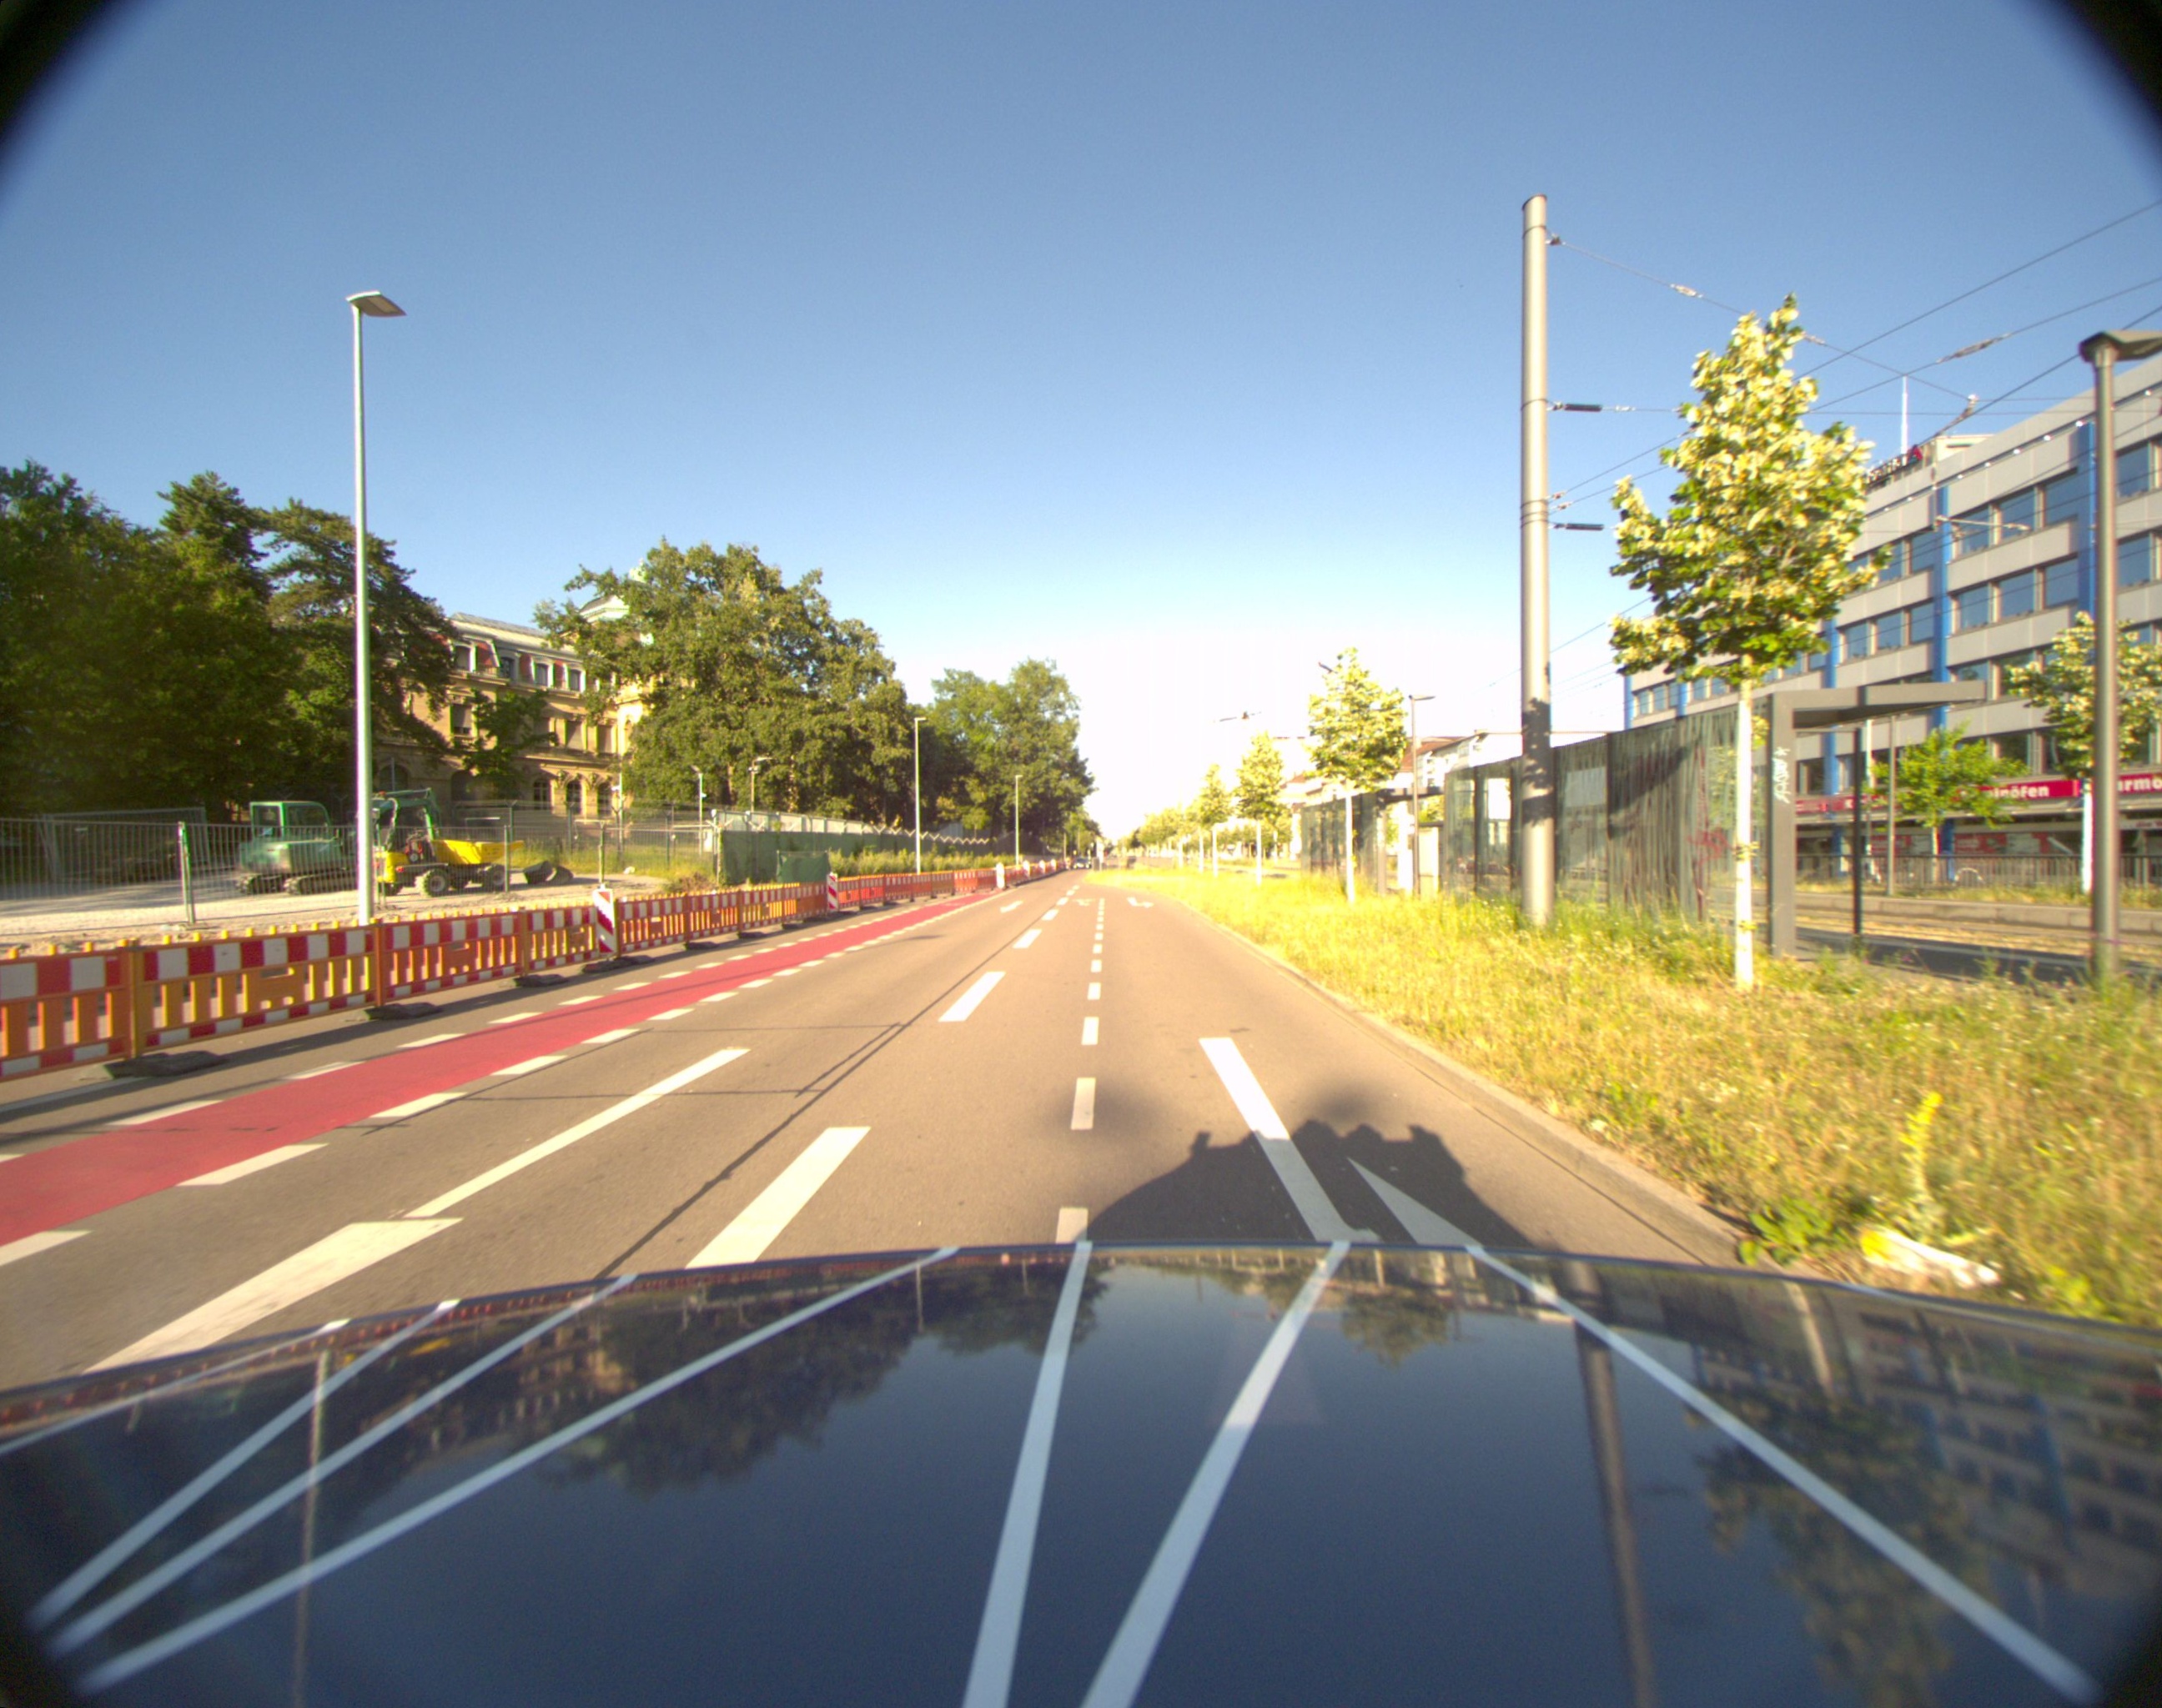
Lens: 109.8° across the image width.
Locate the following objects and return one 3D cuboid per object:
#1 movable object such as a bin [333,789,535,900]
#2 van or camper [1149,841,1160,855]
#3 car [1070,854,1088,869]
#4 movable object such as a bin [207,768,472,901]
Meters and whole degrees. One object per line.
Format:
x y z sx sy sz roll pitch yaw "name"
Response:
-18.315 -0.247 21.794 1.997 2.887 4.002 -1 0 9 "movable object such as a bin"
17.052 -1.272 175.818 2.510 3.149 7.478 -1 0 5 "van or camper"
-0.268 0.879 95.670 2.080 1.827 4.000 -1 0 2 "car"
-22.067 -0.514 23.078 2.280 3.537 5.501 -1 0 6 "movable object such as a bin"
